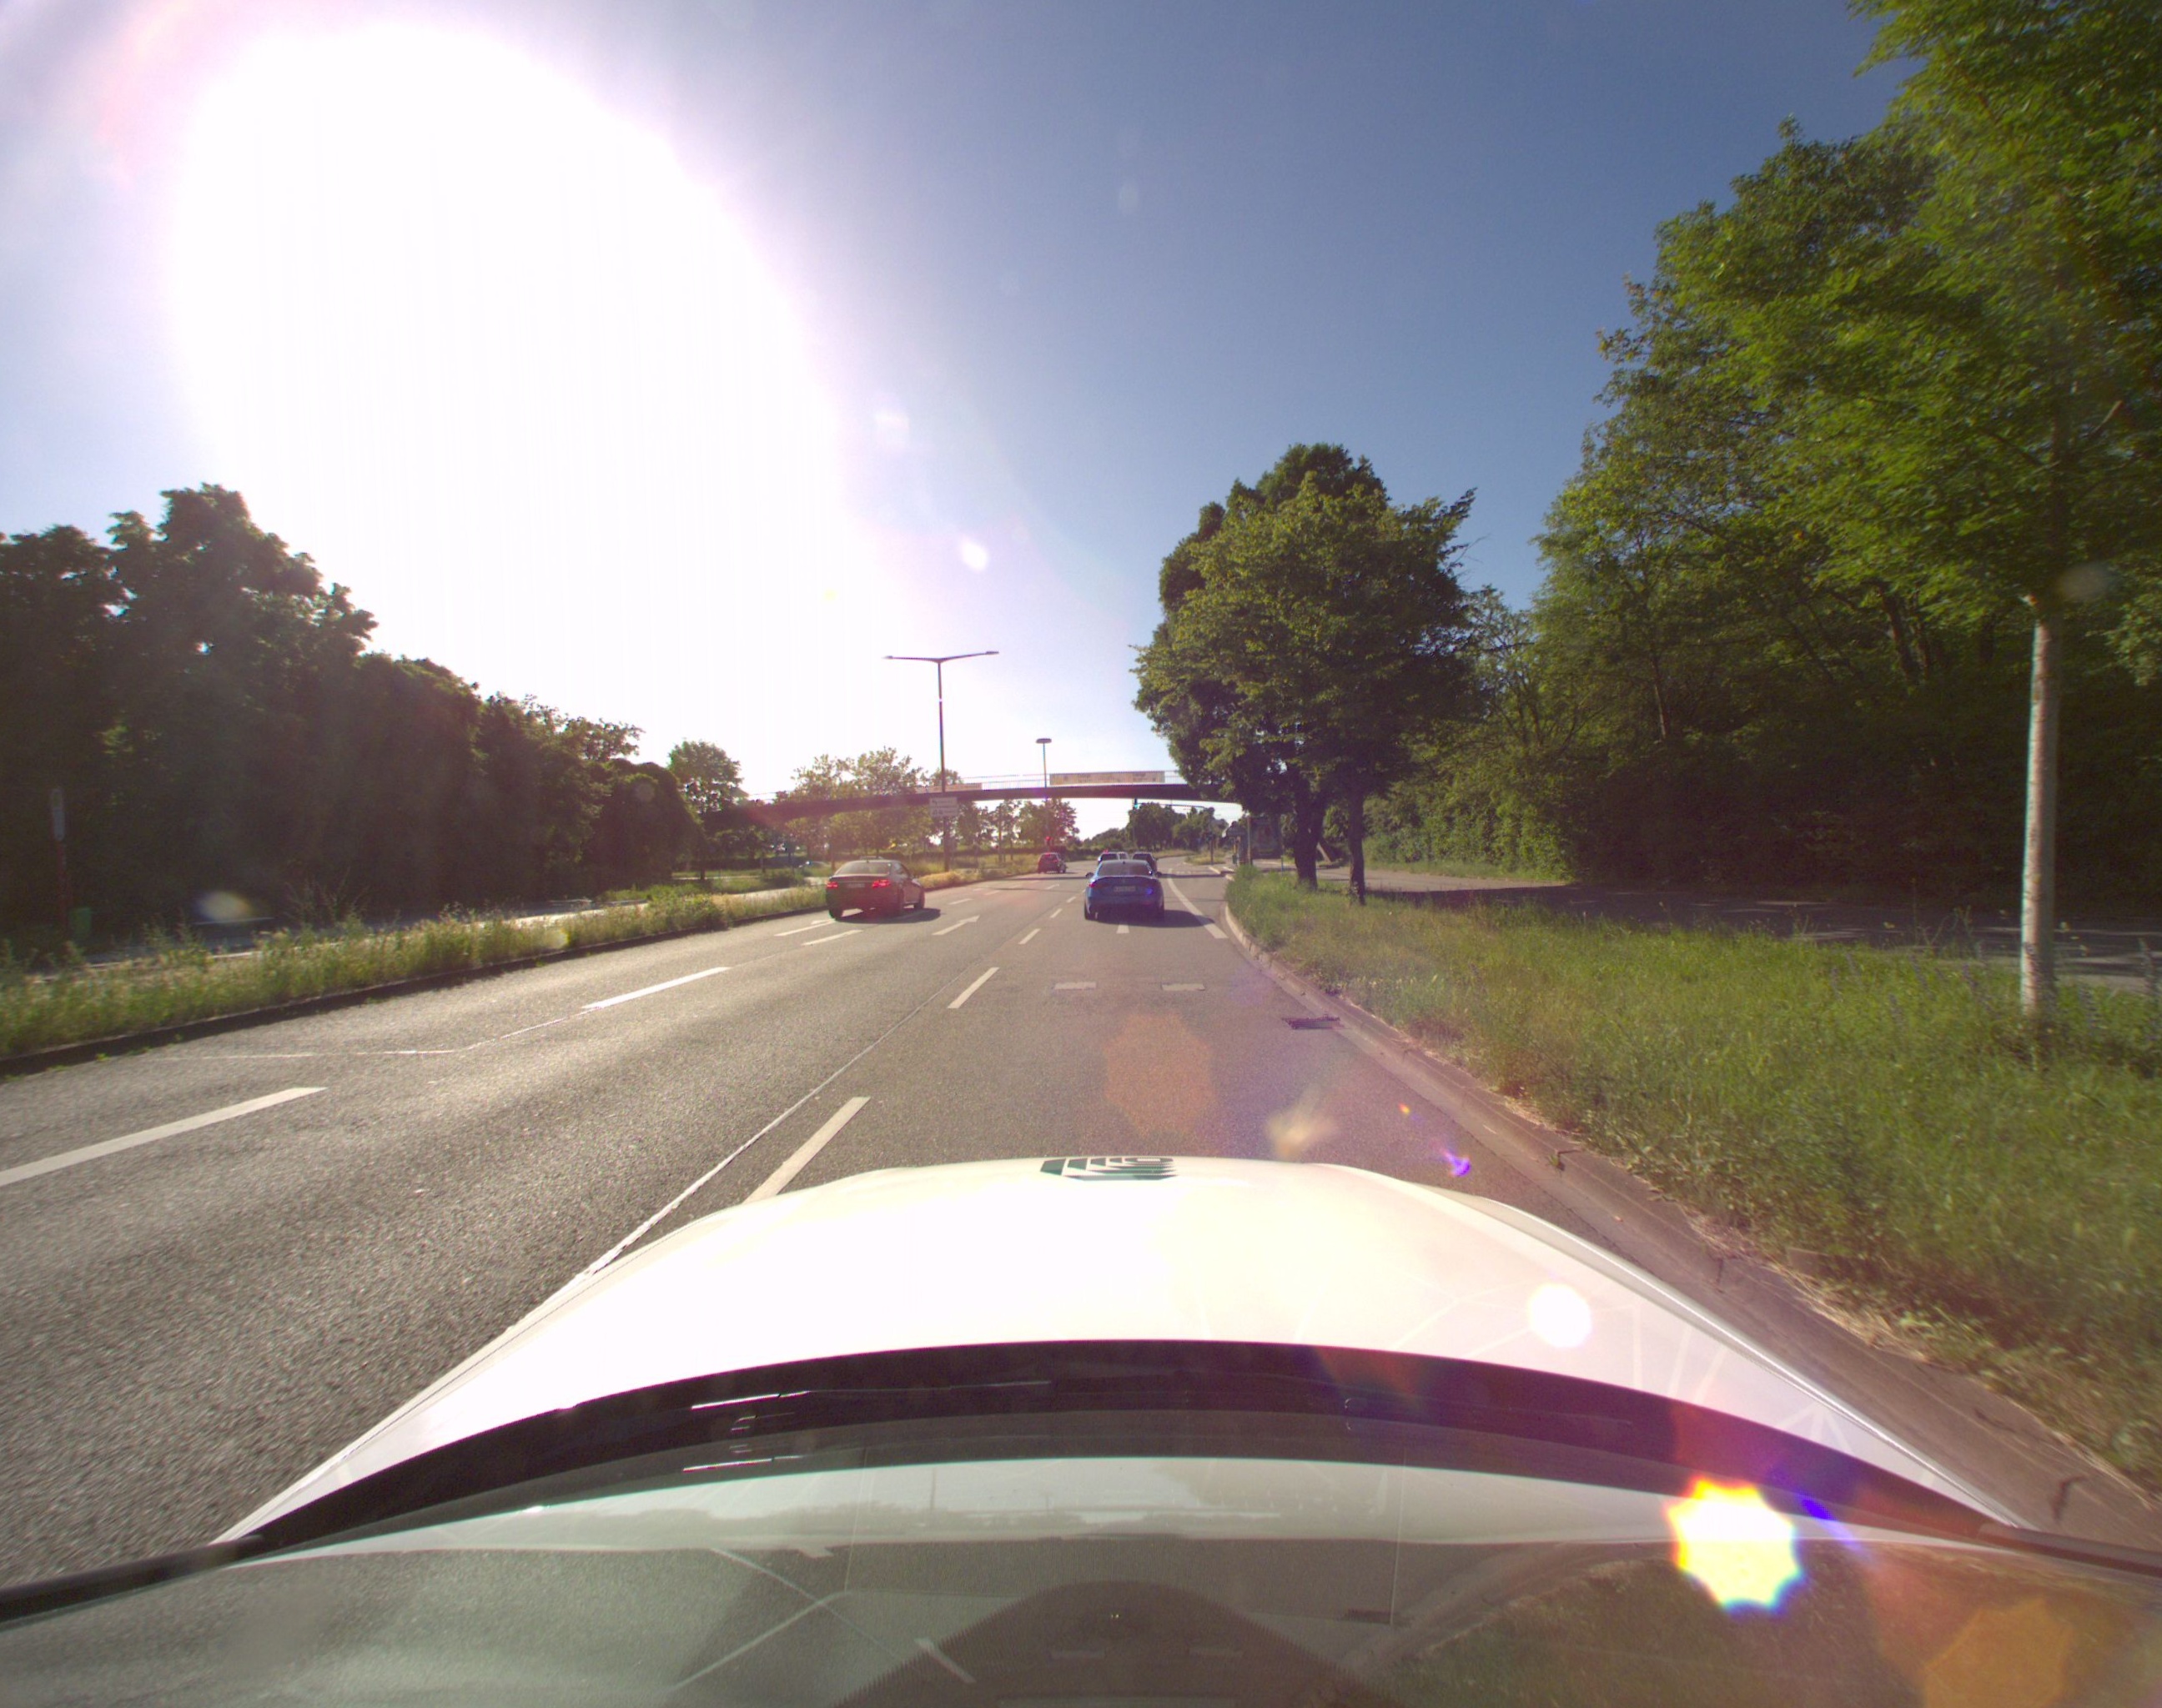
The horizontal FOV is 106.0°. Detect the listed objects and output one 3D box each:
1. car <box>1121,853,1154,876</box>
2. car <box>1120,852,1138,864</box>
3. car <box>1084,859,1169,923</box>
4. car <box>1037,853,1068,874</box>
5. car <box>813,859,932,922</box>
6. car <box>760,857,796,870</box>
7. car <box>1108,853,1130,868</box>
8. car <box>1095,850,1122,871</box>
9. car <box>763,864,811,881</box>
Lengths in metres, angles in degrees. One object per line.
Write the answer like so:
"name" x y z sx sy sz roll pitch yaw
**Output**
"car" 3.702 0.695 54.123 1.877 1.454 4.525 -1 -1 0
"car" 5.749 0.480 98.122 1.877 1.454 4.525 -1 -1 0
"car" 1.035 0.853 20.567 1.877 1.406 4.222 -1 -1 -1
"car" -2.197 0.750 63.427 1.787 1.556 3.738 -1 -1 8
"car" -5.587 0.911 22.558 1.952 1.483 4.918 -2 0 0
"car" -46.945 1.464 126.409 4.767 2.014 2.001 -1 -1 2
"car" 3.772 0.668 81.769 1.877 1.454 4.525 -1 -1 0
"car" 2.158 0.554 64.858 1.704 1.598 4.219 -1 -1 -3
"car" -29.808 1.878 82.567 4.271 1.650 2.010 -1 -1 19
